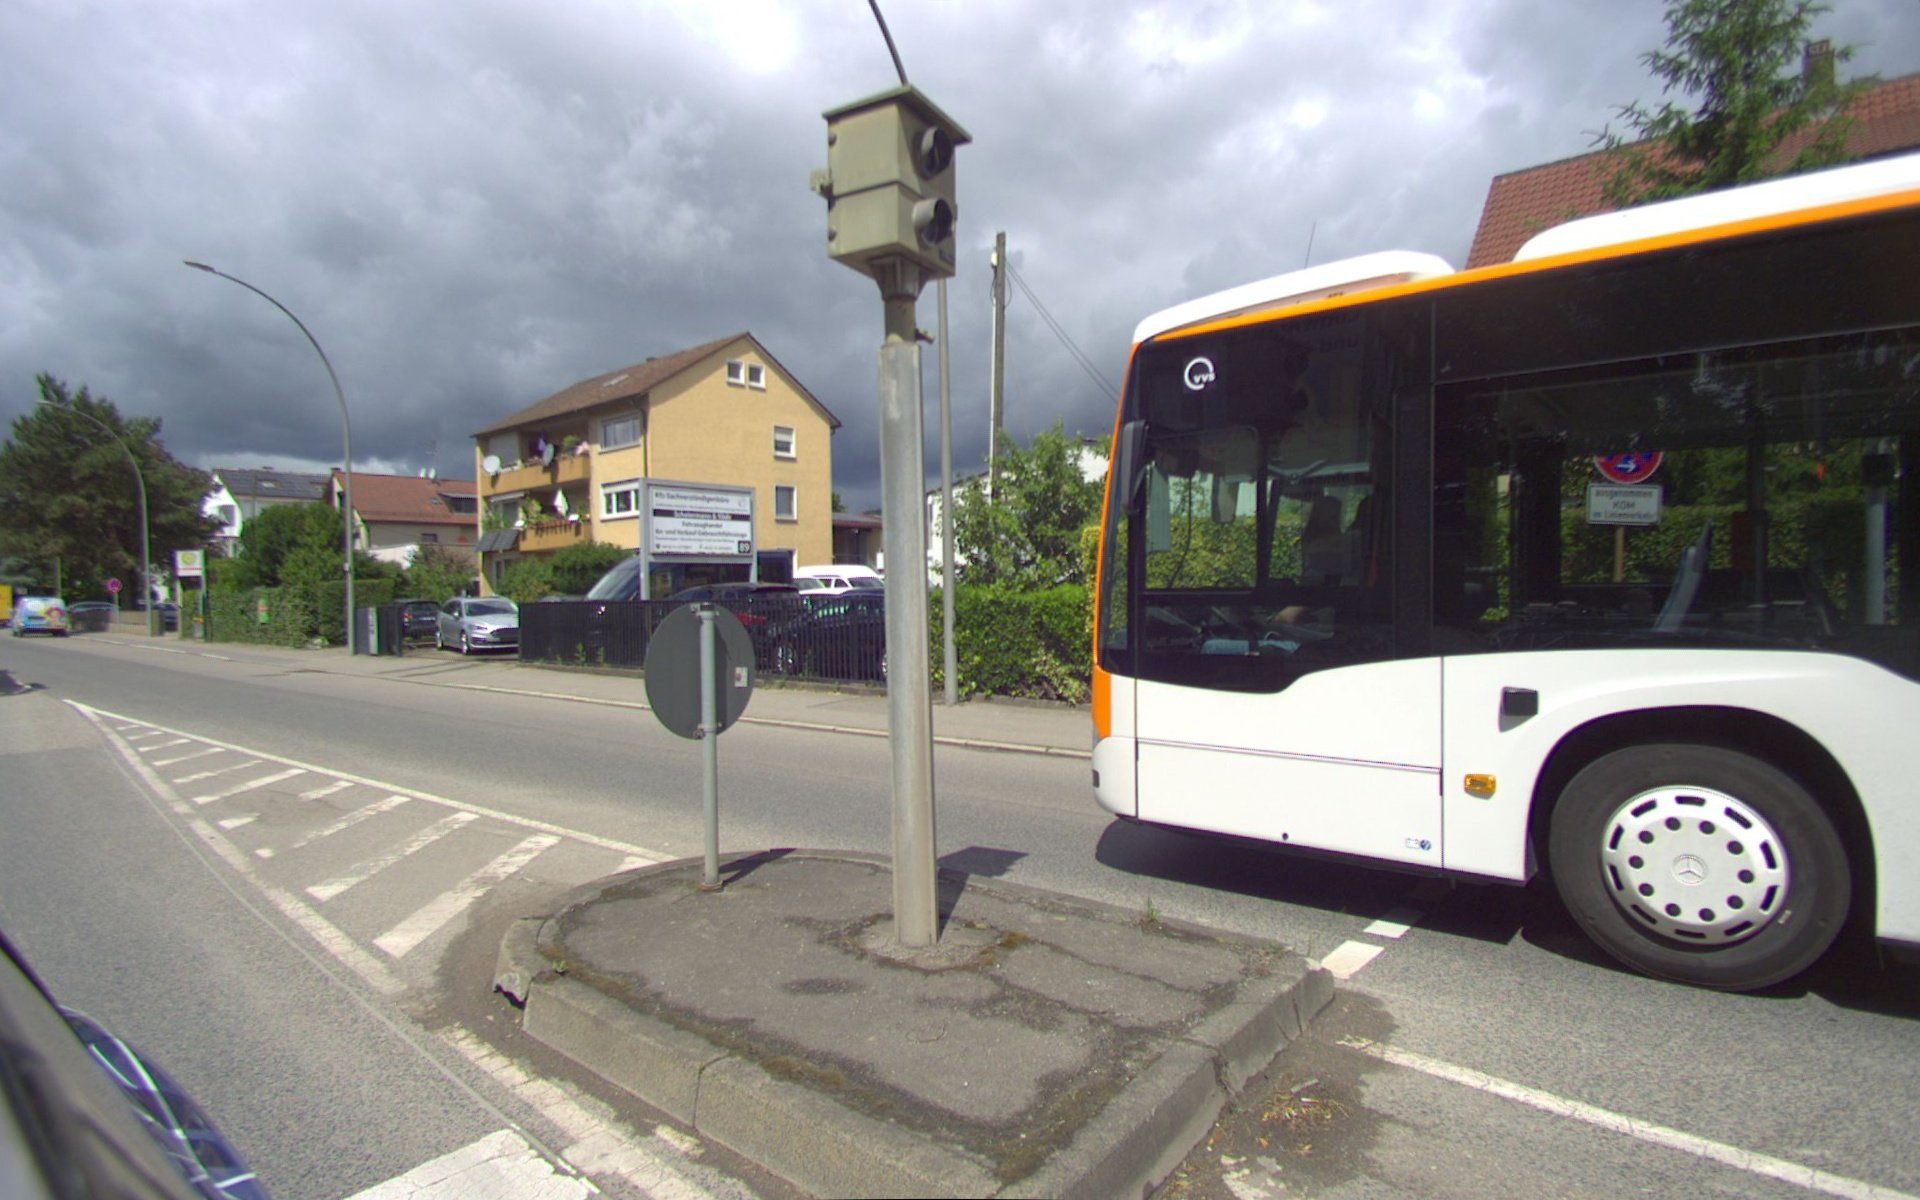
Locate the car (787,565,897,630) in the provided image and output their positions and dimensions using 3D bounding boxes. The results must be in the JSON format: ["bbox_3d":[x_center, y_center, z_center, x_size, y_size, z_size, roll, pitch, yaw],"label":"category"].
[{"bbox_3d":[-4.459,-0.112,37.967,4.000,2.286,1.972,0,1,43],"label":"car"}]

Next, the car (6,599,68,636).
[{"bbox_3d":[-44.119,0.809,48.366,3.998,1.693,1.707,0,1,41],"label":"car"}]

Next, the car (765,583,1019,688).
[{"bbox_3d":[-1.189,0.492,16.415,4.042,1.494,1.839,0,1,42],"label":"car"}]

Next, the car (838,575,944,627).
[{"bbox_3d":[-2.764,0.023,40.010,4.000,1.941,1.972,0,1,43],"label":"car"}]

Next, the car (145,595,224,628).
[{"bbox_3d":[-50.631,0.737,66.087,3.957,2.029,1.993,0,1,11],"label":"car"}]

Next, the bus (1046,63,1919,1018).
[{"bbox_3d":[6.035,-0.184,2.546,12.253,3.054,2.692,0,0,39],"label":"bus"}]

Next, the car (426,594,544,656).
[{"bbox_3d":[-12.923,0.610,27.408,1.860,1.470,4.358,-2,2,-39],"label":"car"}]

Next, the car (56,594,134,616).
[{"bbox_3d":[-72.079,0.391,84.342,2.217,1.691,4.674,0,1,41],"label":"car"}]

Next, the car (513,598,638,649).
[{"bbox_3d":[-11.293,0.643,29.602,4.000,1.352,1.860,0,1,43],"label":"car"}]

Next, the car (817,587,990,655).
[{"bbox_3d":[-1.361,0.441,23.335,4.000,1.423,1.715,0,1,43],"label":"car"}]

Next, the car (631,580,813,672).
[{"bbox_3d":[-4.739,0.449,19.918,3.621,1.633,1.789,0,1,43],"label":"car"}]

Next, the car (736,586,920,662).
[{"bbox_3d":[-2.903,0.454,21.717,4.000,1.470,1.794,0,1,43],"label":"car"}]

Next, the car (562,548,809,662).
[{"bbox_3d":[-6.339,0.058,23.878,2.105,2.402,5.291,0,1,44],"label":"car"}]

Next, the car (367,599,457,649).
[{"bbox_3d":[-19.577,0.805,36.089,3.522,1.678,1.806,0,1,43],"label":"car"}]
